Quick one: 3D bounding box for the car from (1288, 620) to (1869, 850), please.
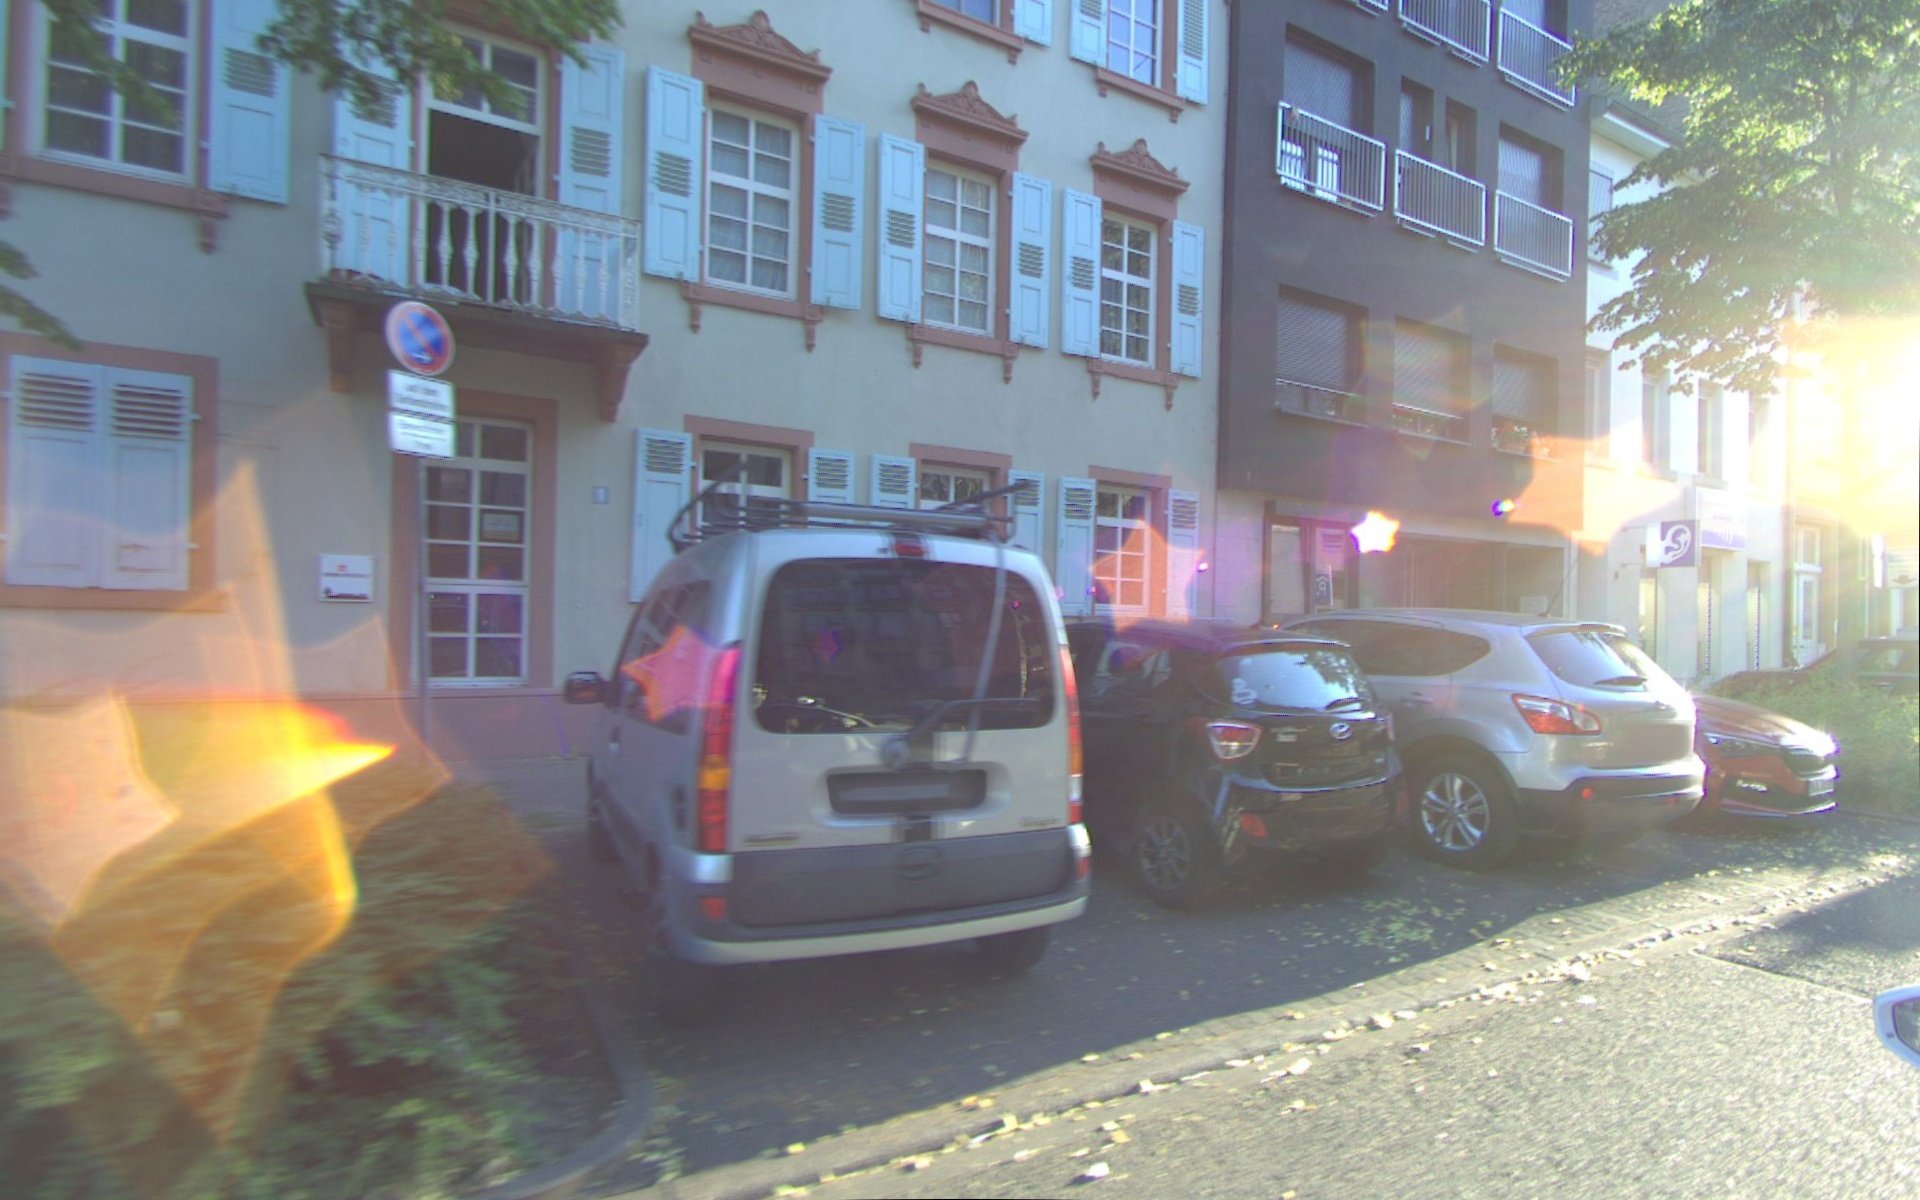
[{"bbox_3d":[5.260,0.989,9.142,1.743,1.536,4.184,2,-1,-32],"label":"car"}]

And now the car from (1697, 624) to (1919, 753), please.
[{"bbox_3d":[12.390,1.143,13.272,1.834,1.537,3.876,2,0,-28],"label":"car"}]

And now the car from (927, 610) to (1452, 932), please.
[{"bbox_3d":[1.215,0.858,6.818,1.626,1.535,3.640,1,-1,-24],"label":"car"}]

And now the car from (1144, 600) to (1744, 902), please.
[{"bbox_3d":[3.268,0.859,7.590,1.719,1.606,3.812,2,0,-26],"label":"car"}]

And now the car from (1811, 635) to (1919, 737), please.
[{"bbox_3d":[14.605,1.266,14.340,1.665,1.410,3.384,2,0,-27],"label":"car"}]

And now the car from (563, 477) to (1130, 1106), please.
[{"bbox_3d":[-0.947,0.613,5.090,1.677,1.874,3.798,2,-1,-26],"label":"car"}]
